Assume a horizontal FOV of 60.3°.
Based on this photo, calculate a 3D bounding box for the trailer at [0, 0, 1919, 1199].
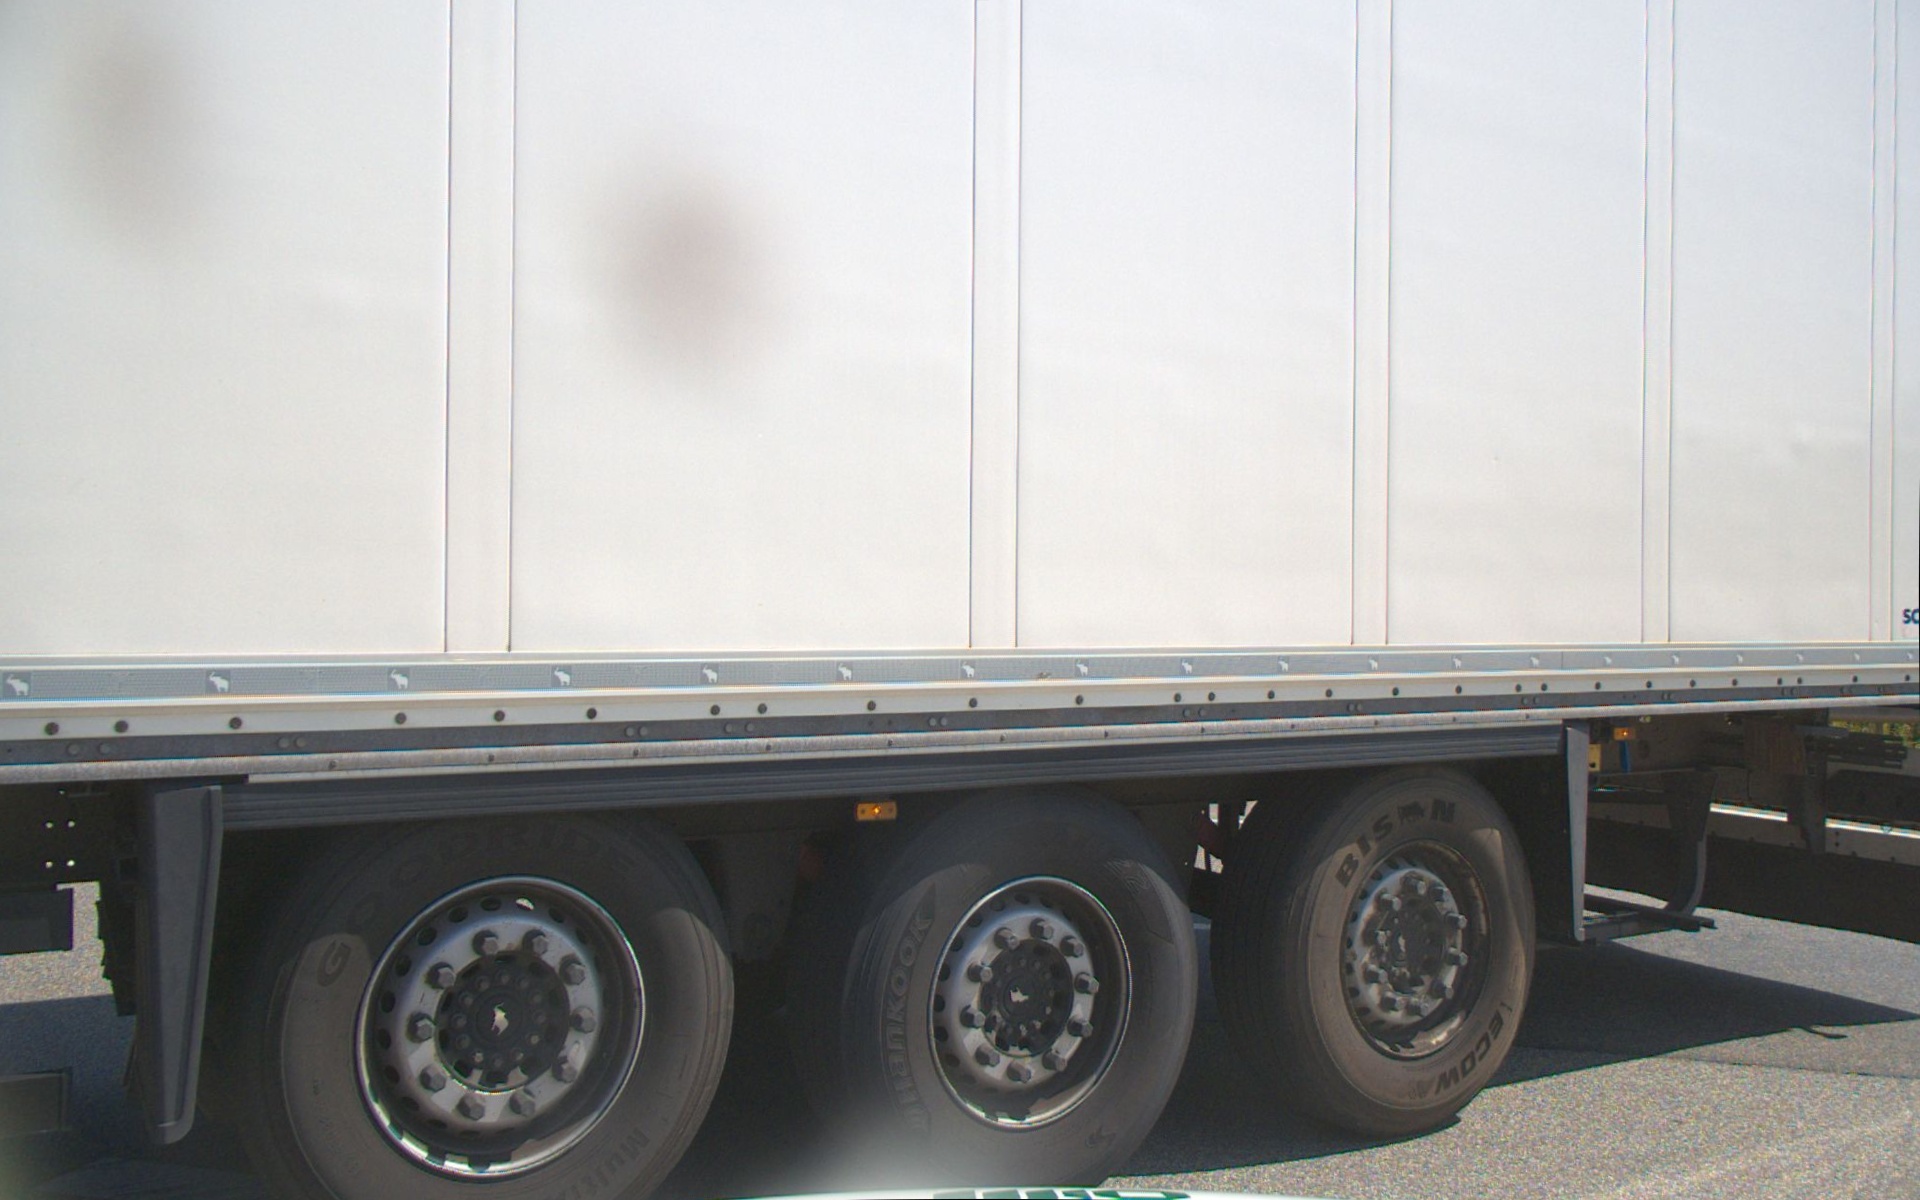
[{"bbox_3d":[-2.265,-0.707,3.911,13.778,4.238,2.869,1,0,-29],"label":"trailer"}]
